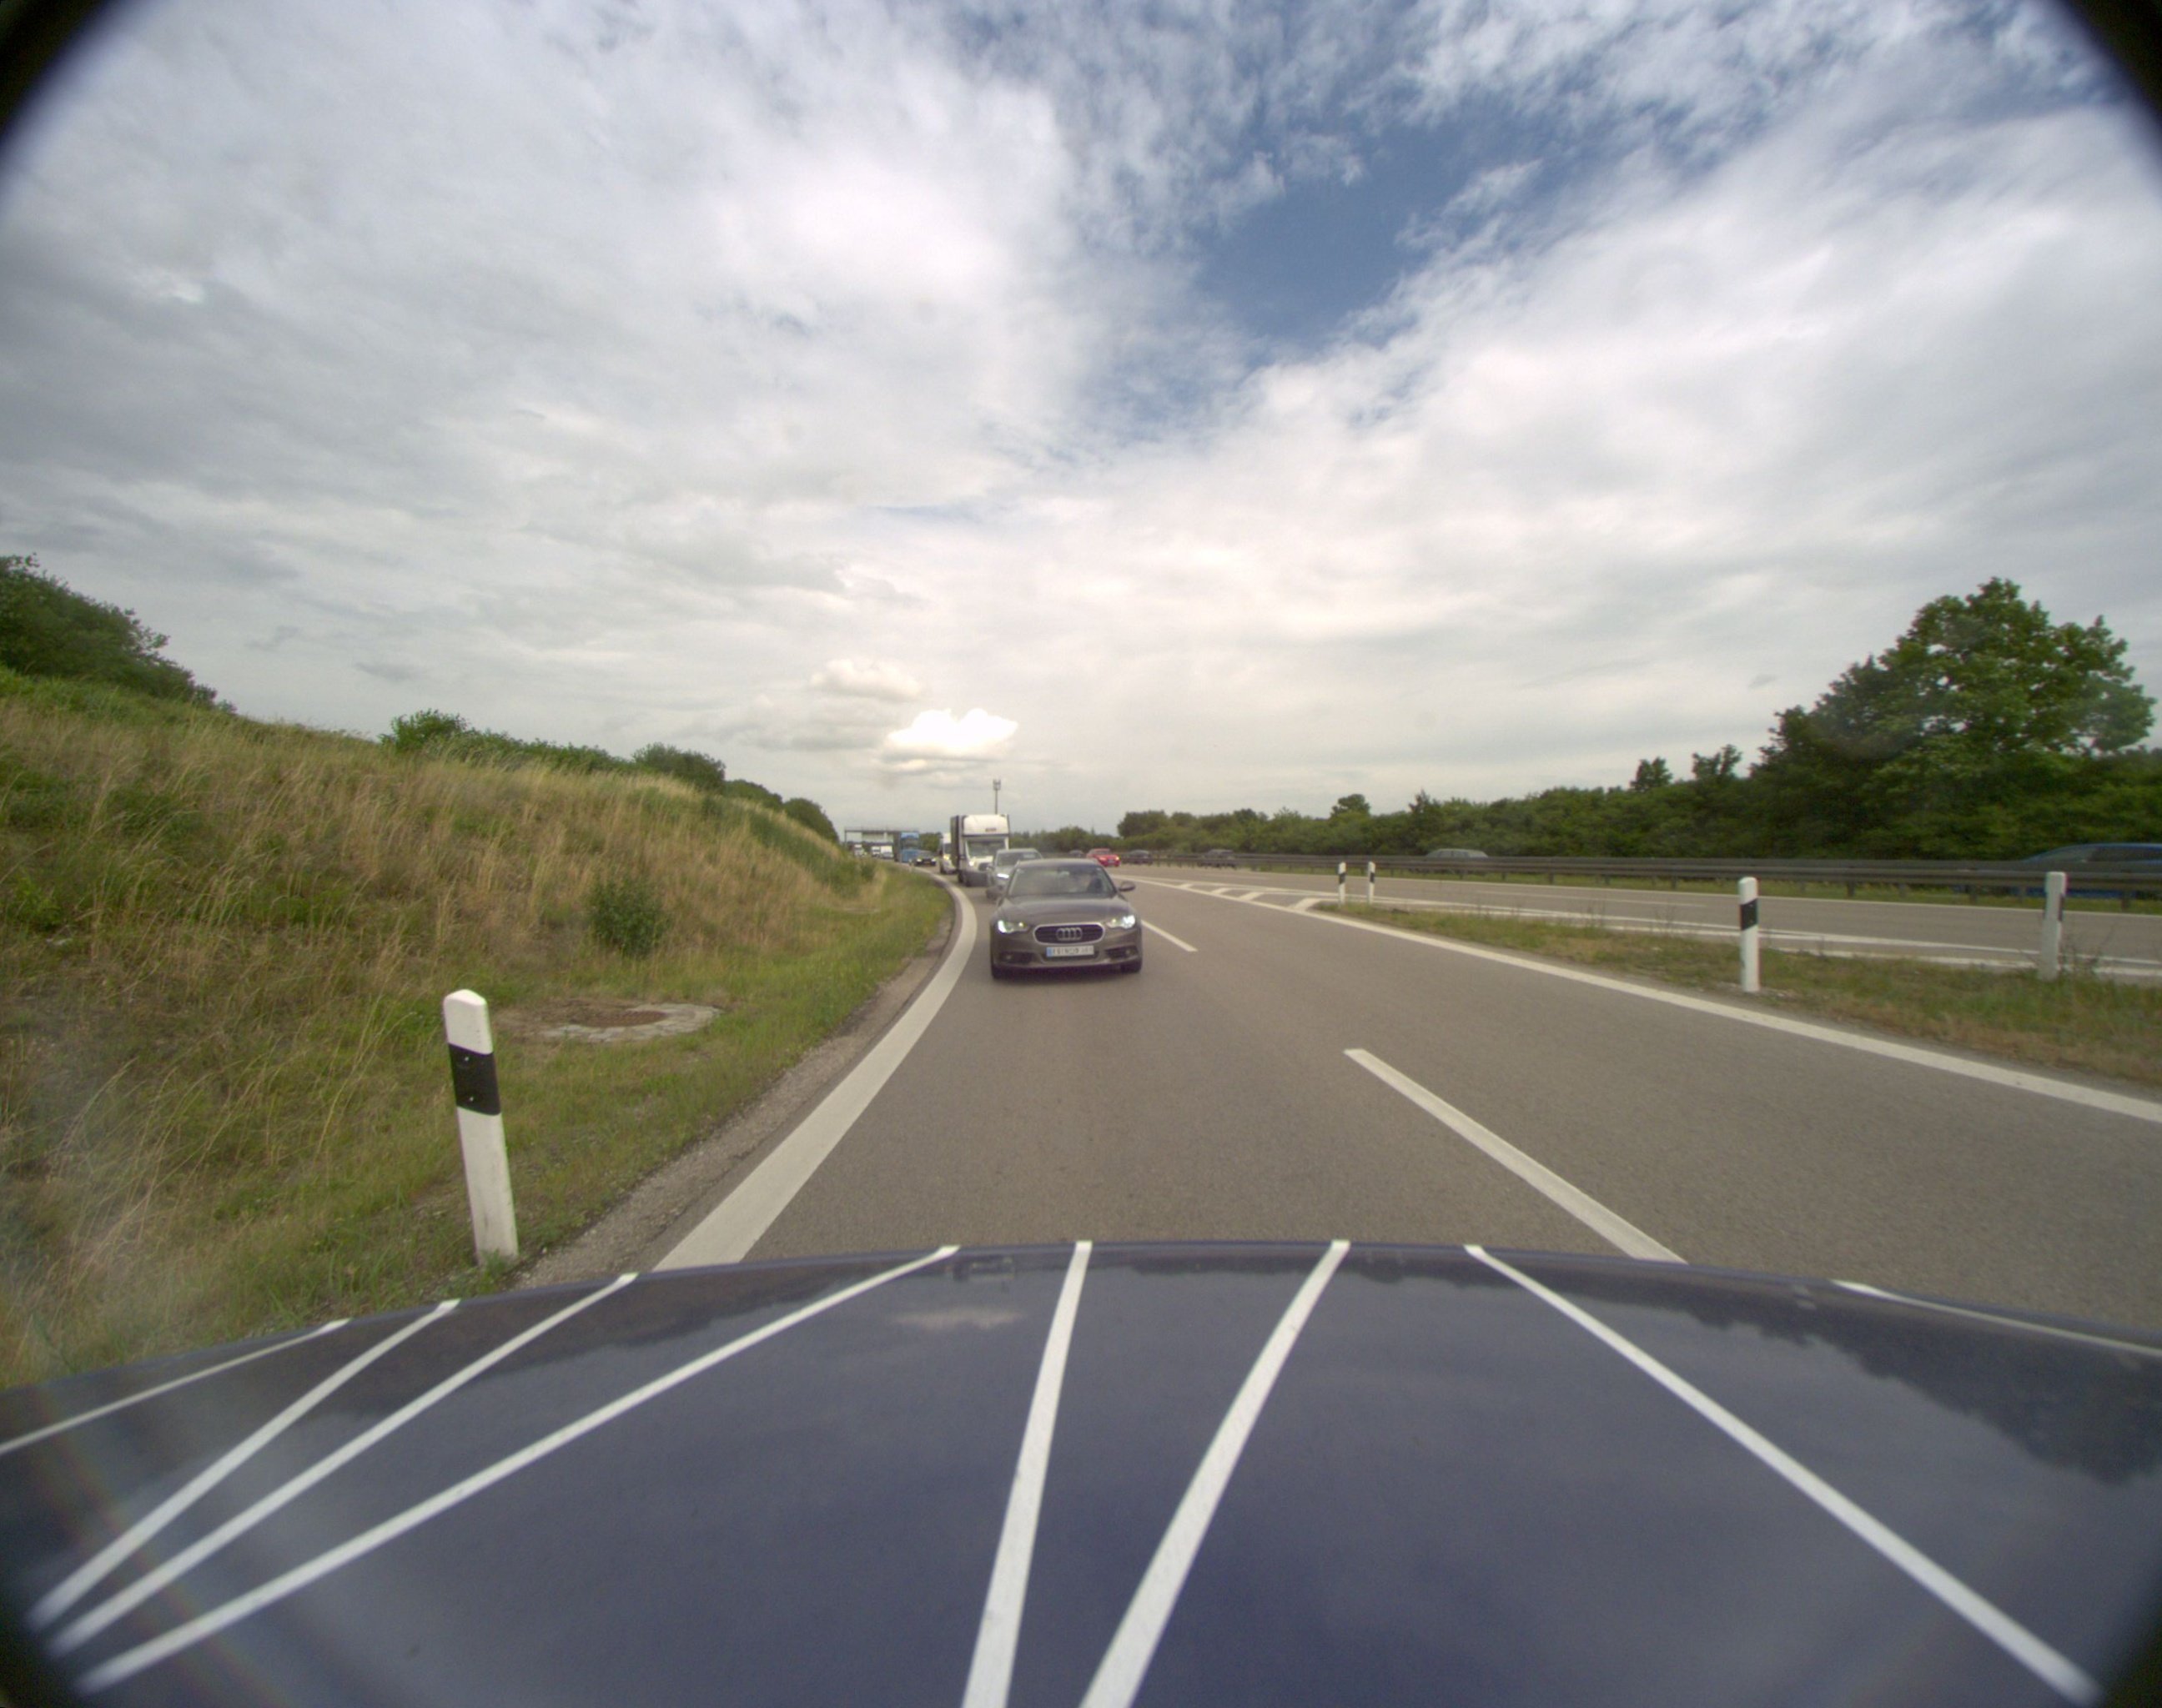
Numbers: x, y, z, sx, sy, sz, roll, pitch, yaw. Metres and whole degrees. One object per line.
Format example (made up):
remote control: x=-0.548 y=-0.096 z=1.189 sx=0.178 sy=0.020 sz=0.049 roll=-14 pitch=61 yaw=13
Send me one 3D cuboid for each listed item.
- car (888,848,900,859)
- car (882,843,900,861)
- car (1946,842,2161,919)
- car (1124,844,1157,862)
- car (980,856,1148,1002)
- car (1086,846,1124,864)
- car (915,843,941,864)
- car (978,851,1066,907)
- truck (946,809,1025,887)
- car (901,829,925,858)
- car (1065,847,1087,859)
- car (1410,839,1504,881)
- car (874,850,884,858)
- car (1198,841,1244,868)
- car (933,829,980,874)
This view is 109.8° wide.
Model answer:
car: x=-34.855 y=-0.101 z=141.580 sx=1.932 sy=2.020 sz=3.994 roll=-1 pitch=1 yaw=-17
car: x=-37.148 y=-0.400 z=148.196 sx=2.950 sy=3.447 sz=6.560 roll=-1 pitch=1 yaw=-17
car: x=23.668 y=0.553 z=17.824 sx=2.001 sy=1.619 sz=3.994 roll=-1 pitch=1 yaw=-16
car: x=5.997 y=-0.127 z=77.456 sx=2.001 sy=1.674 sz=3.993 roll=-1 pitch=1 yaw=-18
car: x=-0.285 y=0.848 z=10.560 sx=1.849 sy=1.489 sz=4.027 roll=-2 pitch=1 yaw=-3
car: x=1.871 y=0.063 z=60.953 sx=1.748 sy=1.334 sz=3.993 roll=-1 pitch=1 yaw=-18
car: x=-14.785 y=-0.079 z=73.309 sx=2.001 sy=2.002 sz=3.993 roll=-1 pitch=1 yaw=-17
car: x=-1.972 y=0.706 z=24.197 sx=2.001 sy=1.567 sz=3.994 roll=-1 pitch=1 yaw=-16
truck: x=-4.607 y=-0.302 z=35.546 sx=2.452 sy=3.217 sz=7.180 roll=-1 pitch=1 yaw=-17
car: x=-22.685 y=-1.439 z=102.359 sx=2.508 sy=3.690 sz=7.689 roll=-1 pitch=1 yaw=-17
car: x=-0.748 y=-0.221 z=109.300 sx=2.001 sy=1.652 sz=4.557 roll=-1 pitch=1 yaw=-16
car: x=19.025 y=0.273 z=38.658 sx=1.932 sy=2.002 sz=4.211 roll=-1 pitch=1 yaw=-16
car: x=-51.349 y=-0.043 z=193.163 sx=2.001 sy=2.002 sz=3.993 roll=-3 pitch=2 yaw=-17
car: x=11.216 y=0.020 z=61.207 sx=1.932 sy=2.002 sz=4.211 roll=-1 pitch=1 yaw=-16
car: x=-8.423 y=-0.187 z=50.800 sx=2.023 sy=2.729 sz=6.916 roll=-1 pitch=1 yaw=-18
